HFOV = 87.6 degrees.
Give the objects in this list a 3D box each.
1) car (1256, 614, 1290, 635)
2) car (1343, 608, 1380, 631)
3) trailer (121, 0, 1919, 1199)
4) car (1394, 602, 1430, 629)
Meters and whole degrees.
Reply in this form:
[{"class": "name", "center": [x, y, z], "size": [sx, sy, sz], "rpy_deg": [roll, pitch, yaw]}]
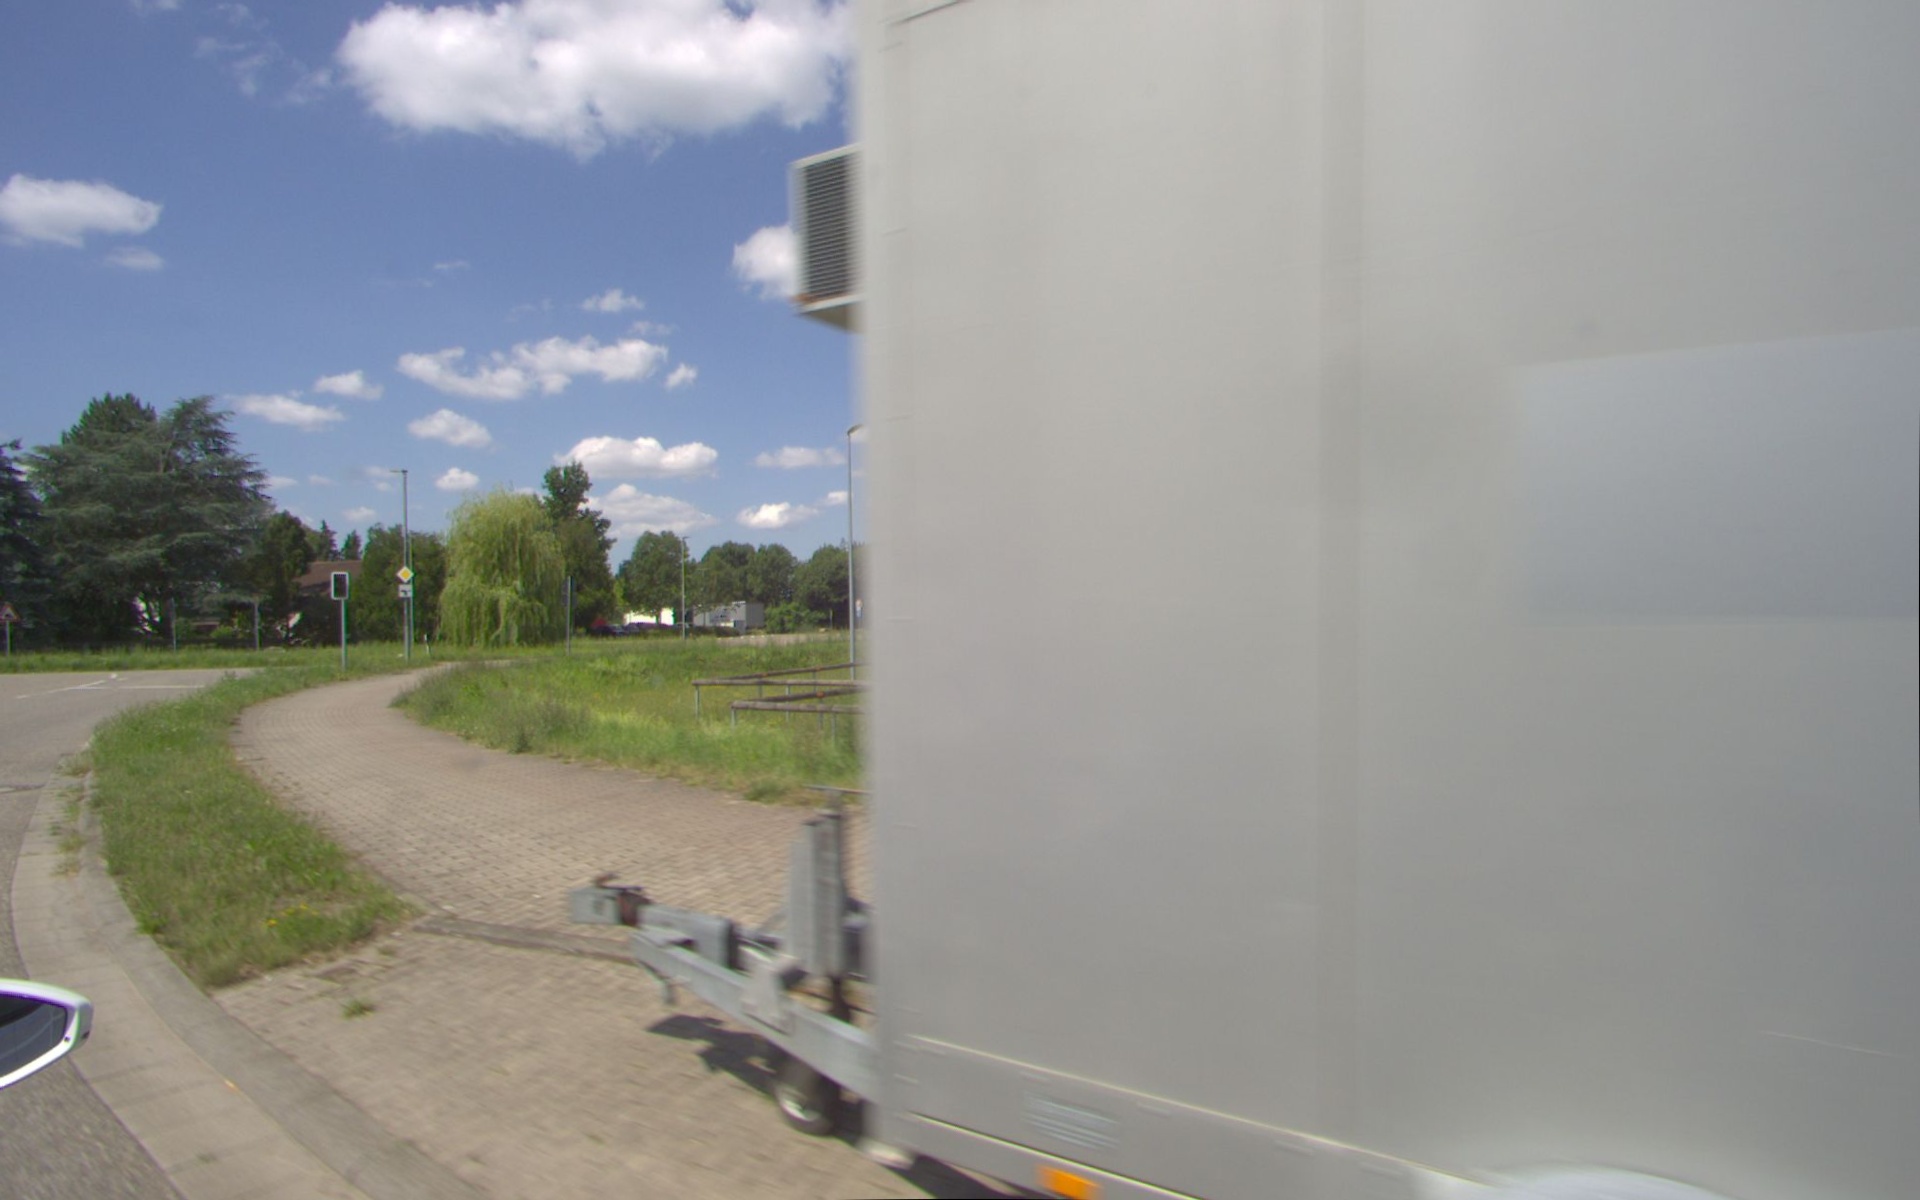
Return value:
[{"class": "car", "center": [20.758, 1.637, 66.348], "size": [1.399, 1.354, 3.102], "rpy_deg": [-2, -3, 33]}, {"class": "car", "center": [25.230, 1.263, 62.893], "size": [1.400, 1.354, 3.099], "rpy_deg": [-2, -3, 36]}, {"class": "trailer", "center": [0.292, 0.102, 2.490], "size": [5.106, 2.680, 1.929], "rpy_deg": [-1, 2, 30]}, {"class": "car", "center": [27.839, 0.984, 61.640], "size": [1.400, 1.523, 3.099], "rpy_deg": [-2, -3, 36]}]
